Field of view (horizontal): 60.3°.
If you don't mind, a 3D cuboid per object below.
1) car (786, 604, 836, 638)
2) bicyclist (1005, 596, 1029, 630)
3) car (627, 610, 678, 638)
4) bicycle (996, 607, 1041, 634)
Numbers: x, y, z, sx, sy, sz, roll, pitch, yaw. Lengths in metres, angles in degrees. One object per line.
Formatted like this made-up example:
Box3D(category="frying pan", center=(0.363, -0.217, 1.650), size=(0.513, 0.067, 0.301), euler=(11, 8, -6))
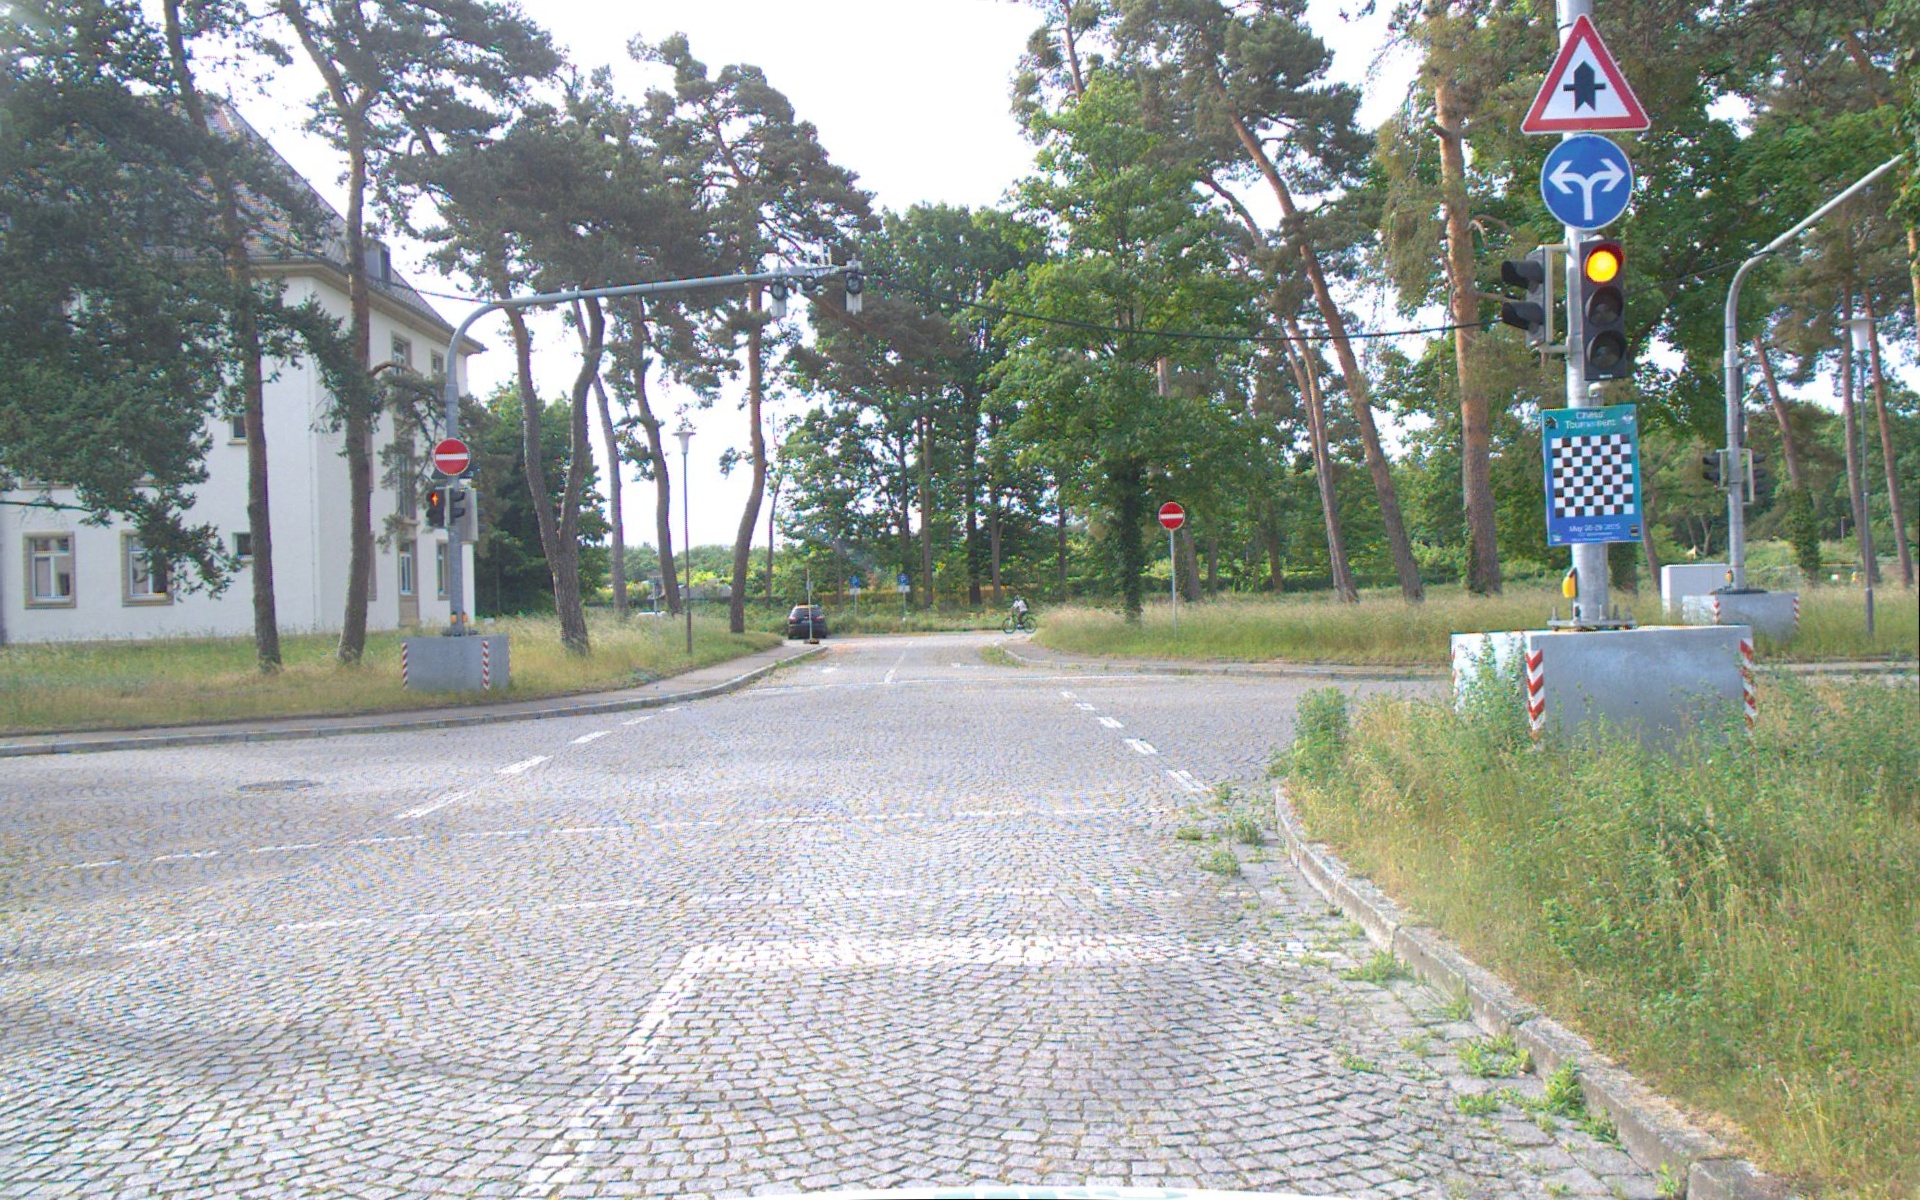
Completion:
Box3D(category="car", center=(-7.014, 0.991, 78.171), size=(1.953, 1.534, 4.000), euler=(0, 0, 0))
Box3D(category="bicyclist", center=(2.591, 0.587, 75.338), size=(0.955, 1.537, 0.807), euler=(-2, 0, -4))
Box3D(category="car", center=(-14.628, 1.131, 78.796), size=(1.654, 1.176, 4.000), euler=(-2, 0, 0))
Box3D(category="bicycle", center=(2.657, 0.937, 75.372), size=(1.947, 1.114, 0.810), euler=(-2, 0, -4))
